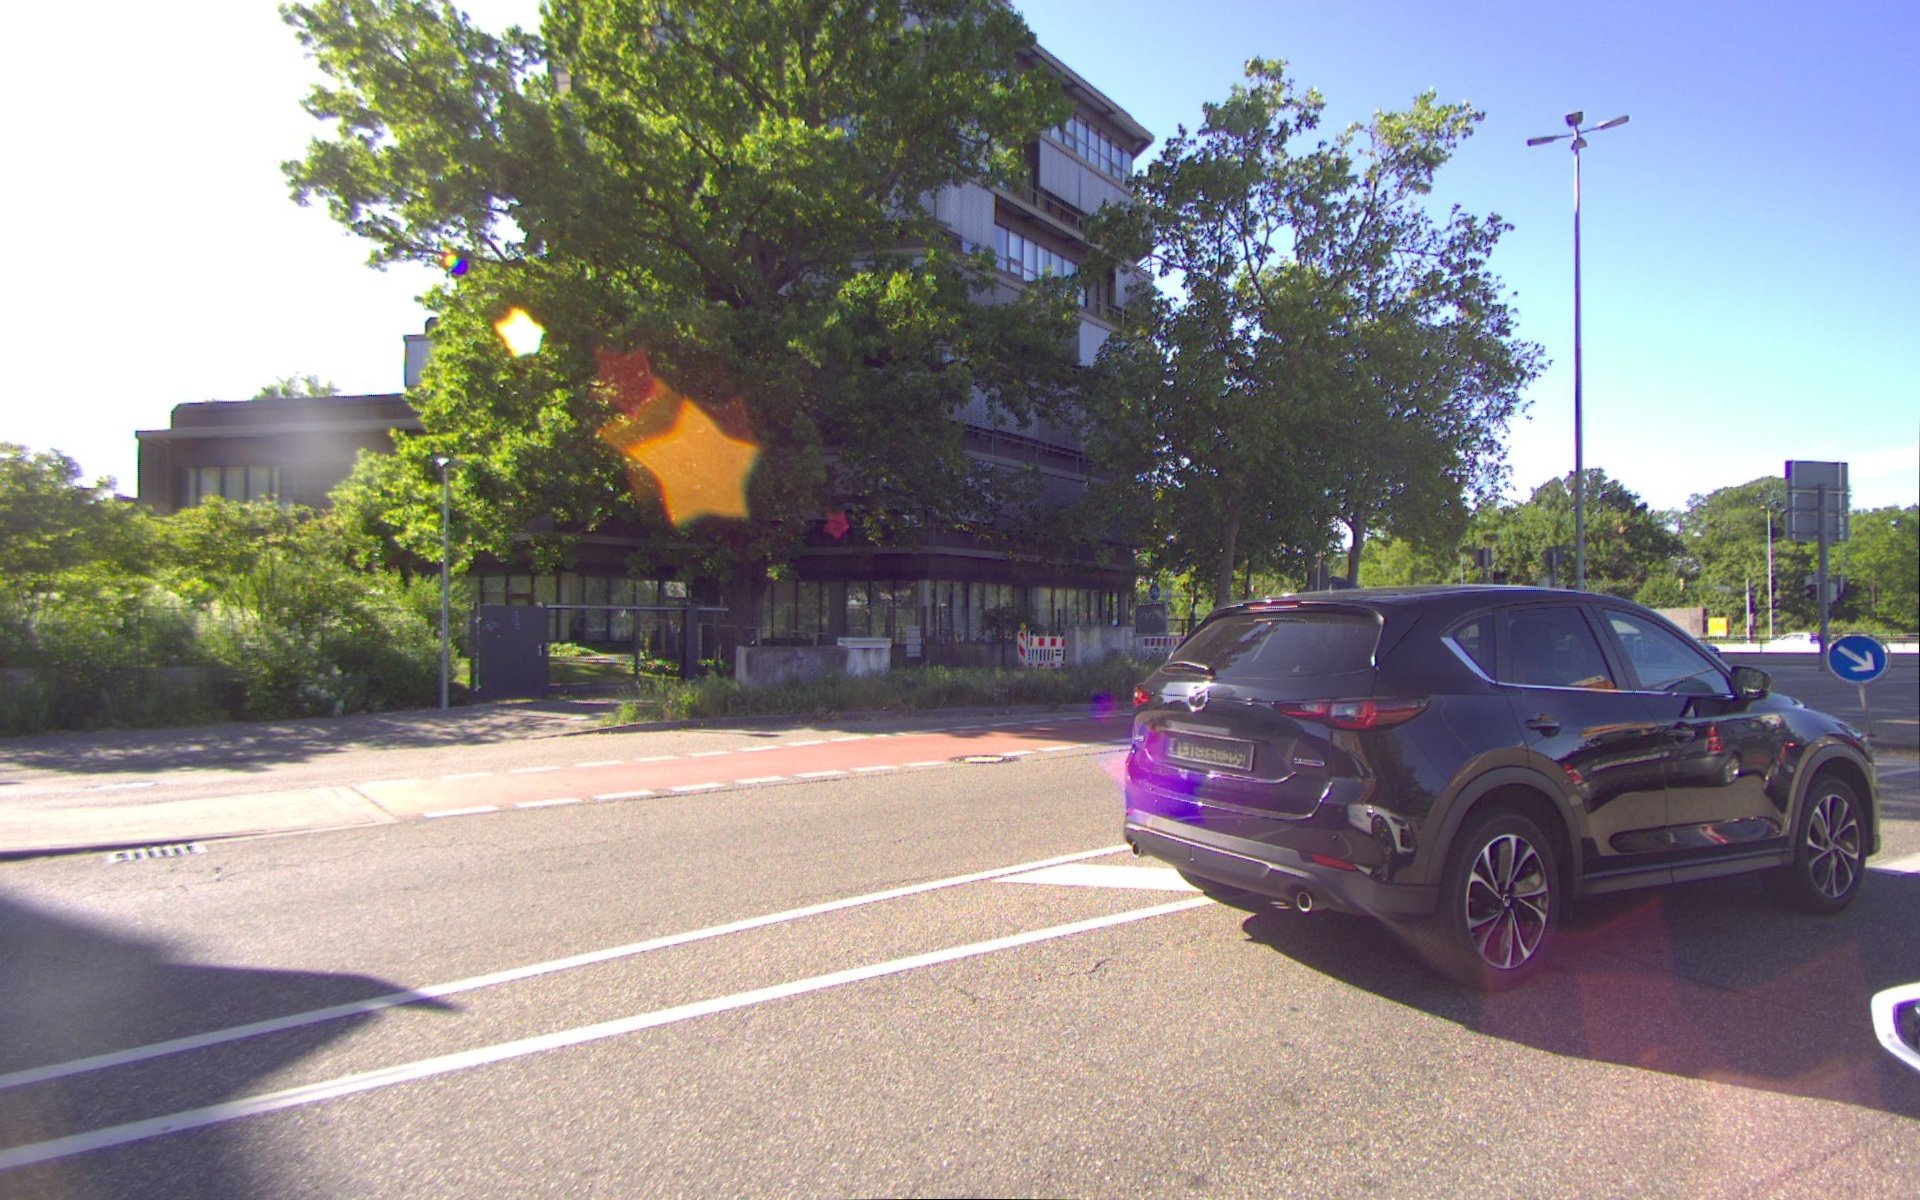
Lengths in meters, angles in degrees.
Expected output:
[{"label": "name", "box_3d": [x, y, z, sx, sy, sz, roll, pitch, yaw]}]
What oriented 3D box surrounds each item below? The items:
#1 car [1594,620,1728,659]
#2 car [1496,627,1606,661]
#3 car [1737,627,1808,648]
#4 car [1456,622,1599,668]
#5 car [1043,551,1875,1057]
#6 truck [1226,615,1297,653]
[{"label": "car", "box_3d": [29.832, 1.665, 42.912, 1.921, 1.561, 4.441, 0, -1, -18]}, {"label": "car", "box_3d": [28.249, 2.070, 48.183, 1.919, 1.561, 4.444, 0, -1, -15]}, {"label": "car", "box_3d": [62.455, 2.900, 77.272, 1.964, 1.528, 3.994, 1, -2, -10]}, {"label": "car", "box_3d": [21.383, 1.662, 38.108, 1.919, 1.643, 4.770, 0, -1, -15]}, {"label": "car", "box_3d": [2.673, 0.744, 5.266, 4.144, 1.731, 1.867, 1, -2, -28]}, {"label": "truck", "box_3d": [19.723, 2.195, 66.121, 2.122, 2.391, 7.513, 0, -1, -3]}]
